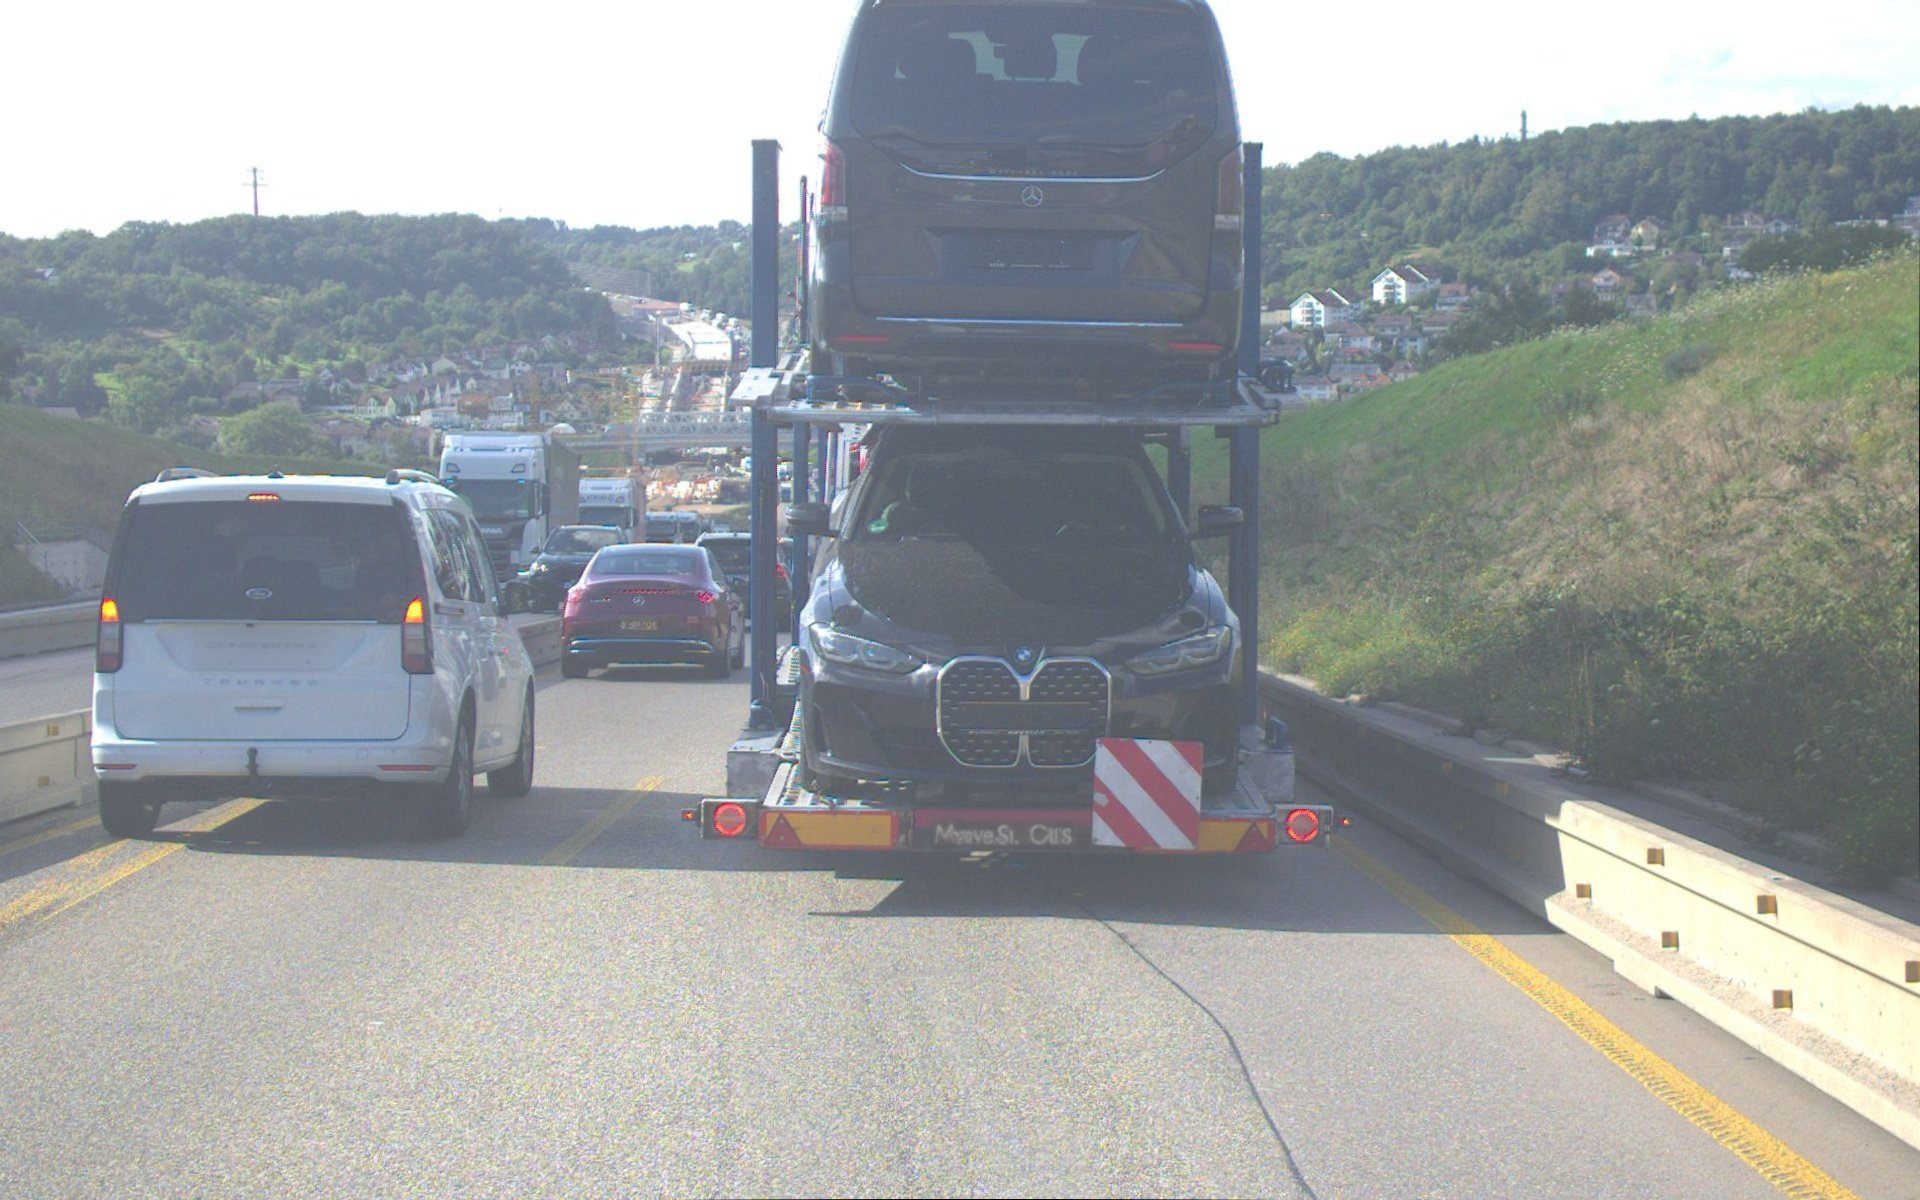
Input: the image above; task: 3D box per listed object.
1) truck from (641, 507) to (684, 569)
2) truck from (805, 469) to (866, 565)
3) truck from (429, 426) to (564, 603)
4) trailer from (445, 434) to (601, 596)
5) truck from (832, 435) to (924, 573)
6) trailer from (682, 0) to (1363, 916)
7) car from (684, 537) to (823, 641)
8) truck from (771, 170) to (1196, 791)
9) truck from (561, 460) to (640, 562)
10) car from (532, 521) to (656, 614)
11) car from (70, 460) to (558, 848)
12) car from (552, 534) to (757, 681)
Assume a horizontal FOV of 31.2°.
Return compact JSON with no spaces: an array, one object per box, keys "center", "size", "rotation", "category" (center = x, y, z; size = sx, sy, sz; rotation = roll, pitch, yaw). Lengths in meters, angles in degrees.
[{"center":[-20.059,-4.195,232.099],"size":[2.638,4.085,10.820],"rotation":[0,1,-4],"category":"truck"},{"center":[-6.117,-4.052,168.440],"size":[2.863,4.555,11.659],"rotation":[0,1,-2],"category":"truck"},{"center":[-11.181,-2.070,83.360],"size":[2.614,4.139,5.782],"rotation":[0,1,-1],"category":"truck"},{"center":[-11.308,-2.202,90.207],"size":[2.614,3.940,13.875],"rotation":[0,1,-1],"category":"trailer"},{"center":[-2.914,-3.297,119.445],"size":[2.863,4.555,11.659],"rotation":[0,1,-3],"category":"truck"},{"center":[0.178,-0.867,19.386],"size":[2.708,4.015,11.420],"rotation":[0,1,-1],"category":"trailer"},{"center":[-3.398,-0.222,57.318],"size":[1.993,1.619,4.750],"rotation":[1,1,0],"category":"car"},{"center":[0.119,-0.813,24.663],"size":[2.678,3.908,6.028],"rotation":[0,1,-1],"category":"truck"},{"center":[-14.903,-3.682,143.088],"size":[2.638,4.085,10.820],"rotation":[0,1,-3],"category":"truck"},{"center":[-7.369,-0.695,69.626],"size":[1.948,1.741,5.579],"rotation":[1,2,0],"category":"car"},{"center":[-3.341,0.199,18.623],"size":[1.823,1.817,4.456],"rotation":[1,2,-1],"category":"car"},{"center":[-3.374,0.036,38.761],"size":[1.823,1.487,4.684],"rotation":[1,2,1],"category":"car"}]
